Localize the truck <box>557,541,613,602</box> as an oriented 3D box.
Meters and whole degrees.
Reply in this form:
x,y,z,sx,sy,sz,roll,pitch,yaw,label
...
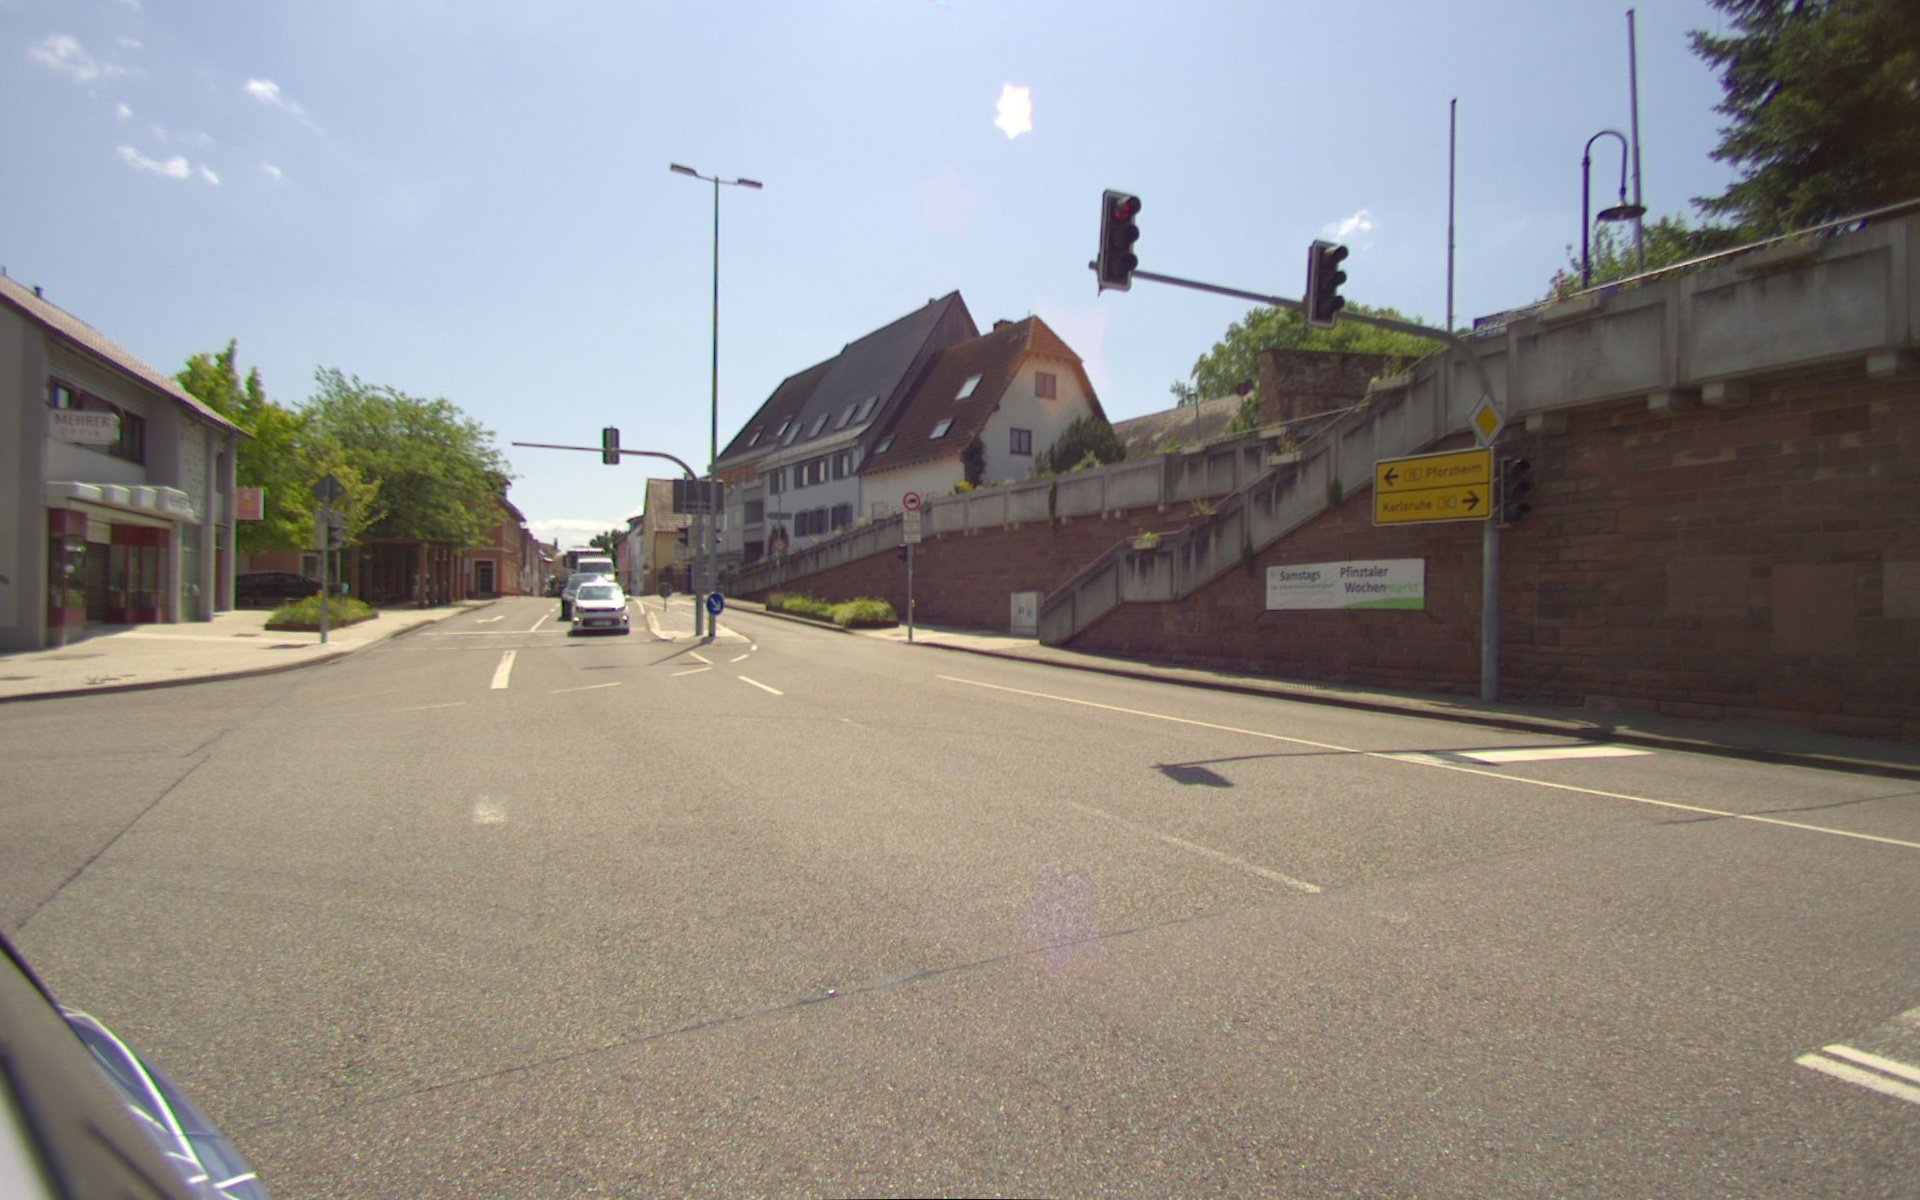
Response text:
x,y,z,sx,sy,sz,roll,pitch,yaw,label
-23.985,-1.726,64.542,2.801,3.597,5.486,0,-1,-26,truck

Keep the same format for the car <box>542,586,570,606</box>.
x,y,z,sx,sy,sz,roll,pitch,yaw,label
-35.032,-0.350,87.688,1.978,1.643,4.593,0,-1,-26,car

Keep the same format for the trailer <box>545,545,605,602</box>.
x,y,z,sx,sy,sz,roll,pitch,yaw,label
-27.015,-1.690,70.689,2.790,3.597,11.001,0,-1,-26,trailer

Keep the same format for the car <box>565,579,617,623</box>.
x,y,z,sx,sy,sz,roll,pitch,yaw,label
-14.232,0.035,39.168,1.696,1.562,4.316,-1,0,-18,car

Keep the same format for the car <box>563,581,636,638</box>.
x,y,z,sx,sy,sz,roll,pitch,yaw,label
-10.907,0.270,30.449,1.696,1.562,4.317,-1,0,-24,car

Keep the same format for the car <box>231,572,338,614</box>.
x,y,z,sx,sy,sz,roll,pitch,yaw,label
-29.389,-0.309,44.158,3.698,1.723,1.730,-1,1,-27,car

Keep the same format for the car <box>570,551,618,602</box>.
x,y,z,sx,sy,sz,roll,pitch,yaw,label
-19.925,-1.194,55.009,2.139,2.583,4.840,0,-1,-24,car
